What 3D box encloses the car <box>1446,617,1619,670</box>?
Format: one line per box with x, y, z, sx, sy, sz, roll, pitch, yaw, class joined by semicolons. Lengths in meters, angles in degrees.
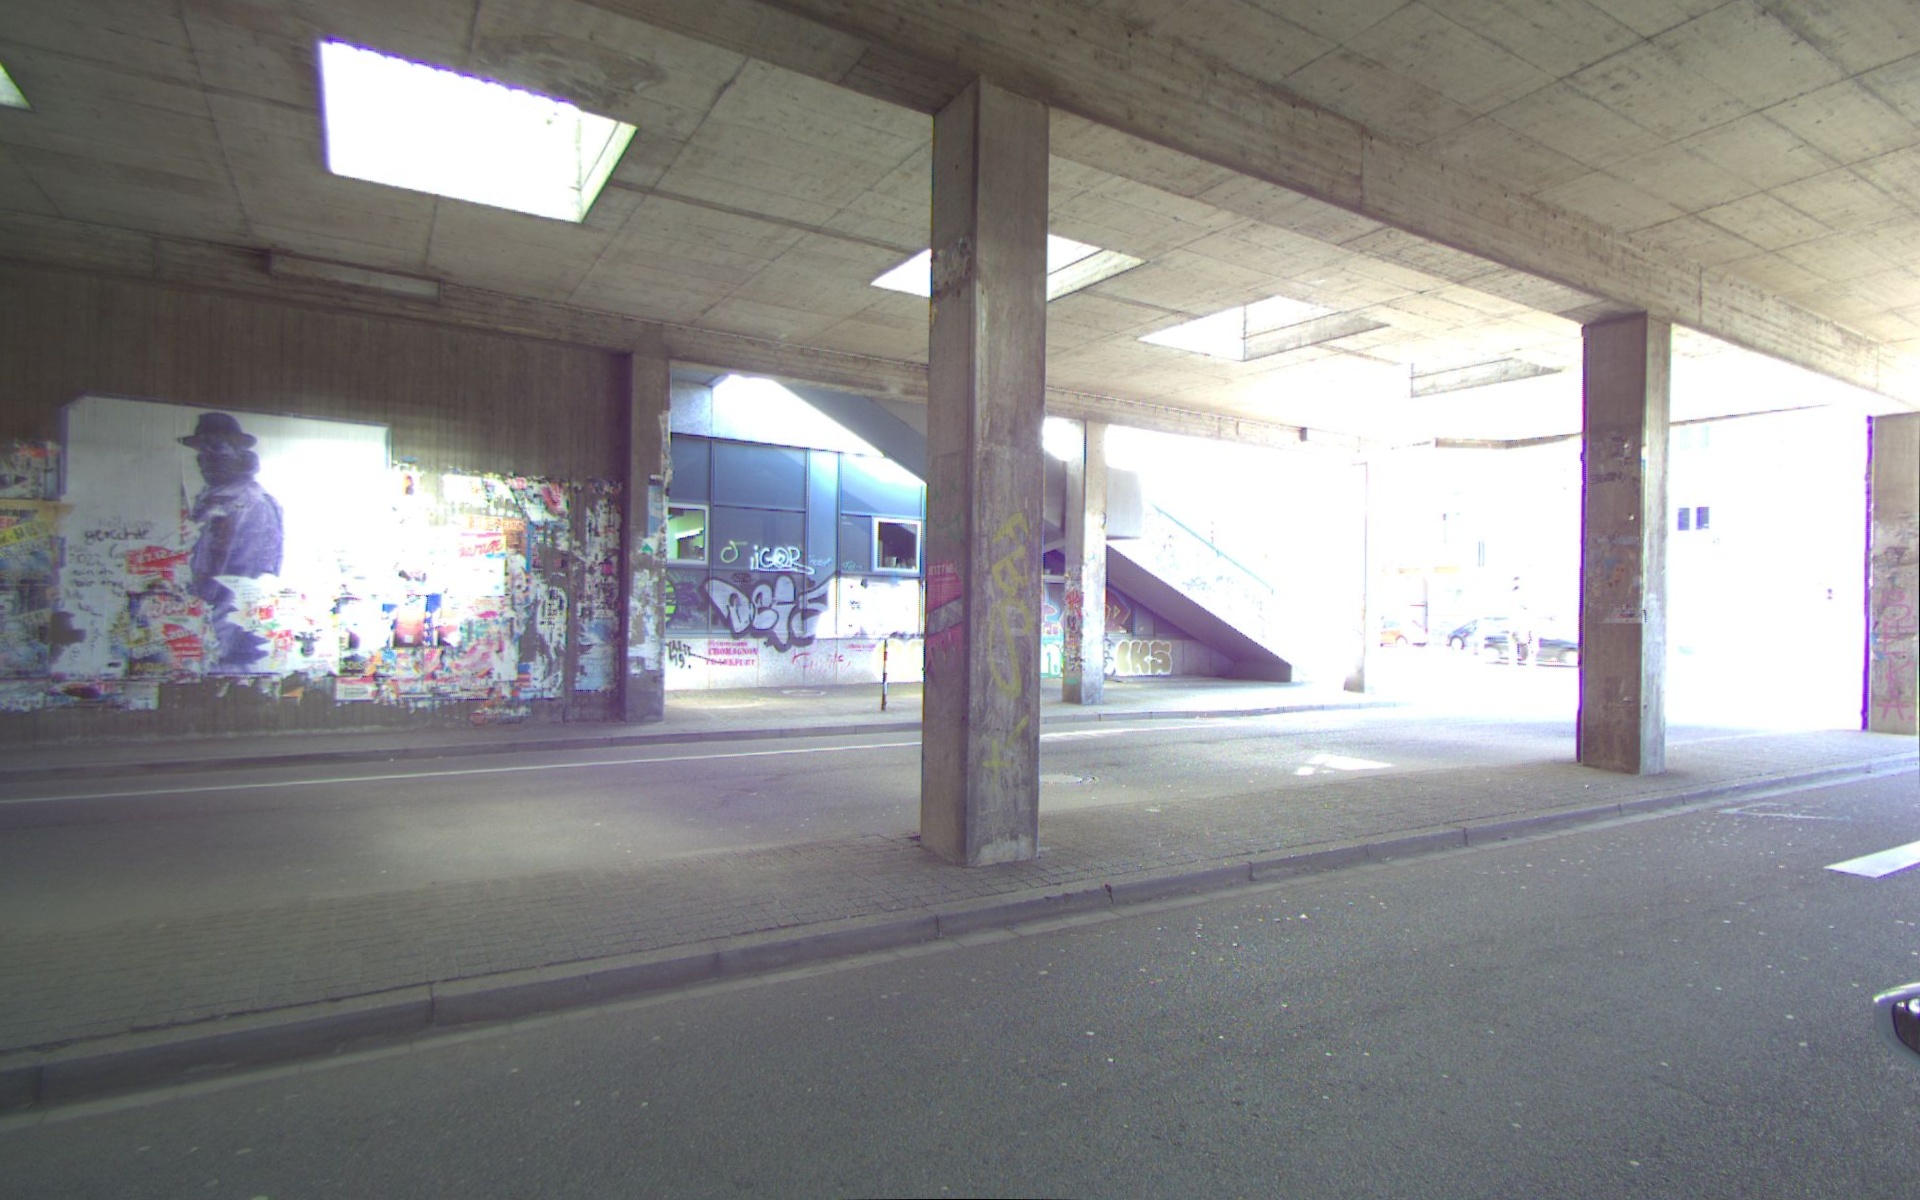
18.771;1.377;33.203;1.973;1.554;4.704;-1;0;-26;car

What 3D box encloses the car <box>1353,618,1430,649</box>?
22.477;1.722;52.455;1.543;1.526;3.518;1;-1;-29;car

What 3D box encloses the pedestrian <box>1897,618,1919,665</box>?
35.775;1.543;37.653;0.710;1.727;0.624;2;0;-9;pedestrian

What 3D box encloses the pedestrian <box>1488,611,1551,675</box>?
15.815;1.195;28.416;1.123;1.760;1.111;1;-1;-17;pedestrian

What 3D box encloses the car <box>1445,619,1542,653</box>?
25.366;1.674;47.841;1.732;1.528;3.735;1;-1;-31;car
